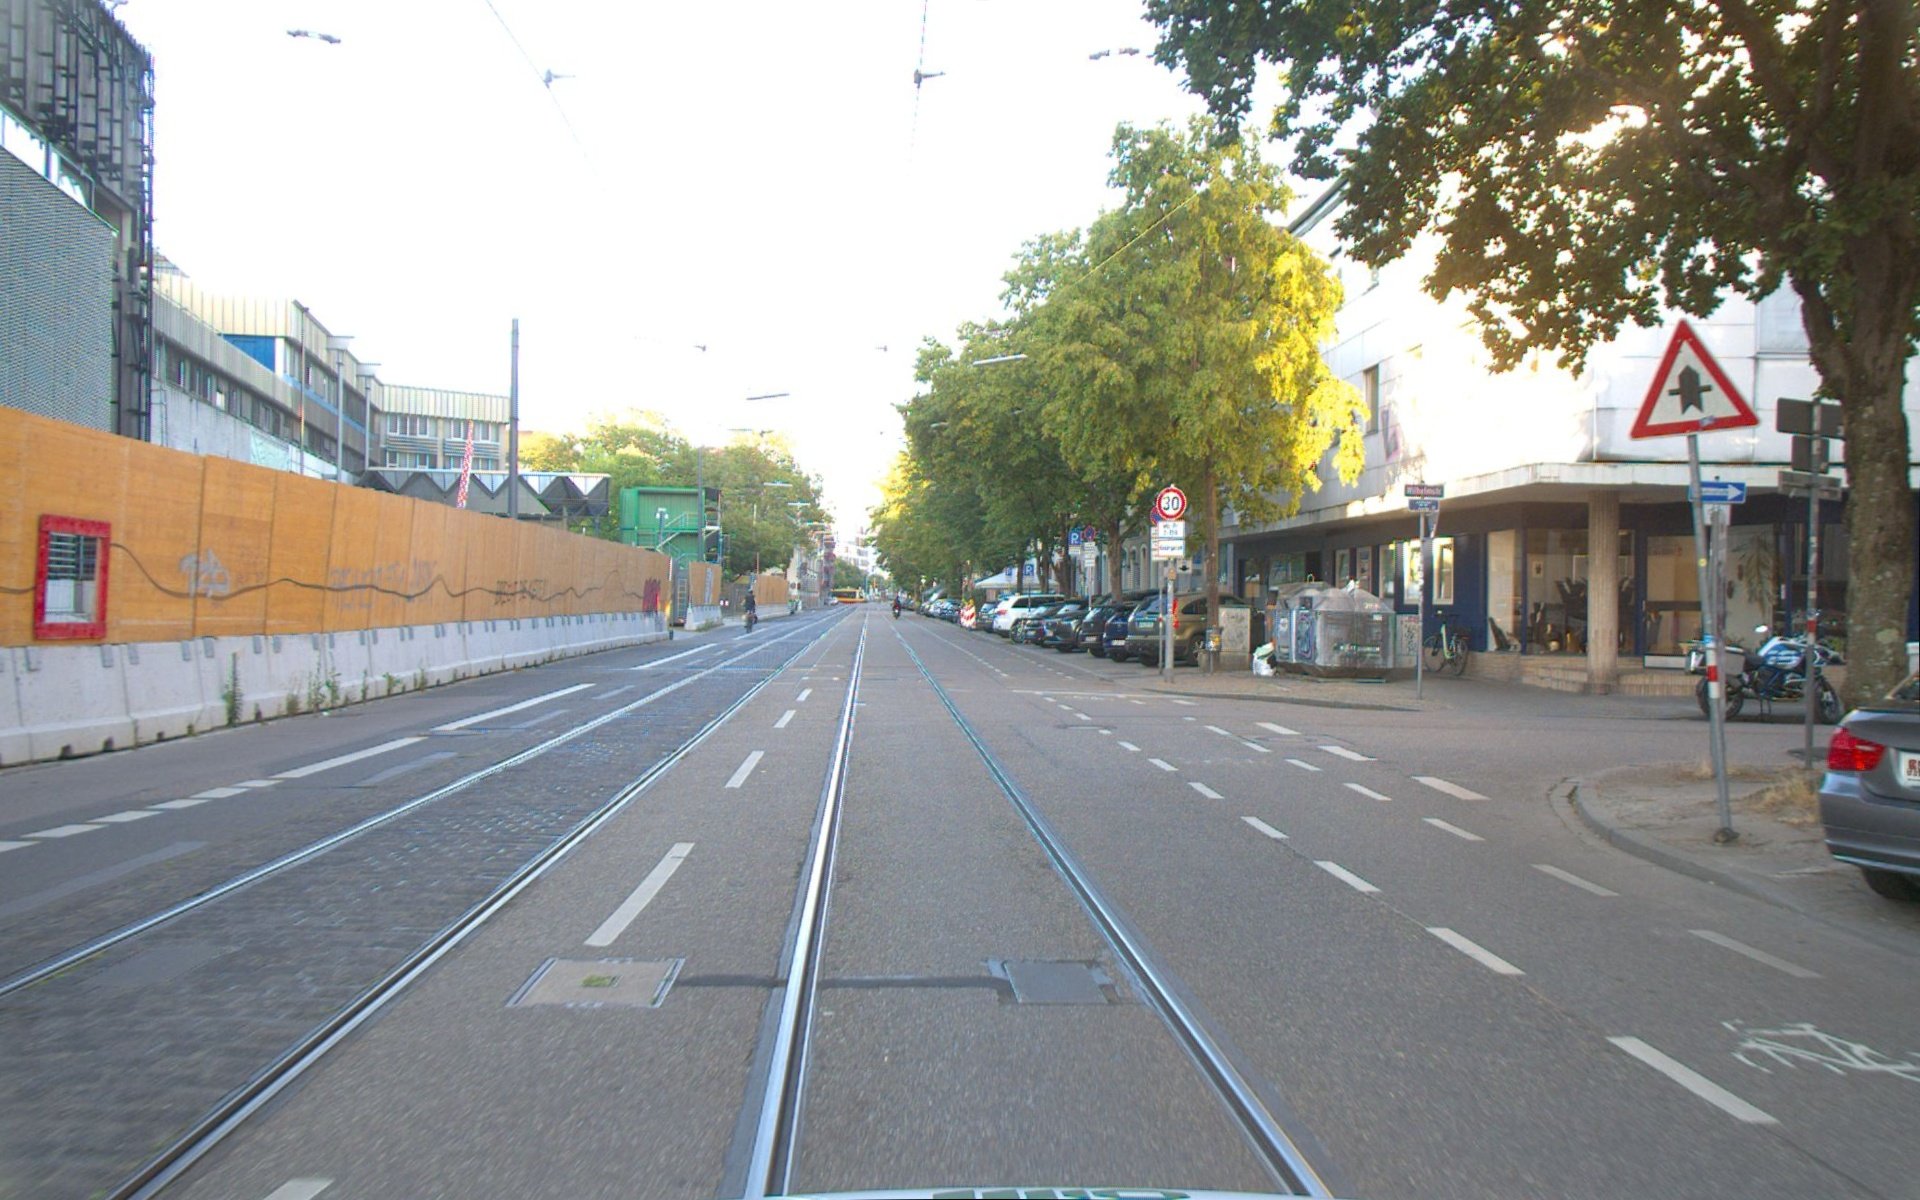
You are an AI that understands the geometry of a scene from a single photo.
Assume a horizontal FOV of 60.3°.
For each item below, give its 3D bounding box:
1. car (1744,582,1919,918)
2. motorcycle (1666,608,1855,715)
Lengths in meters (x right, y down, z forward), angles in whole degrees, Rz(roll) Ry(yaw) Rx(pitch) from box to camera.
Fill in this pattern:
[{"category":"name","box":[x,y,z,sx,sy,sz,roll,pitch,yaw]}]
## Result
[{"category":"car","box":[6.536,0.657,8.865,4.538,1.539,1.847,-2,2,-27]},{"category":"motorcycle","box":[11.208,0.844,23.241,2.047,1.429,1.290,1,-1,4]}]
